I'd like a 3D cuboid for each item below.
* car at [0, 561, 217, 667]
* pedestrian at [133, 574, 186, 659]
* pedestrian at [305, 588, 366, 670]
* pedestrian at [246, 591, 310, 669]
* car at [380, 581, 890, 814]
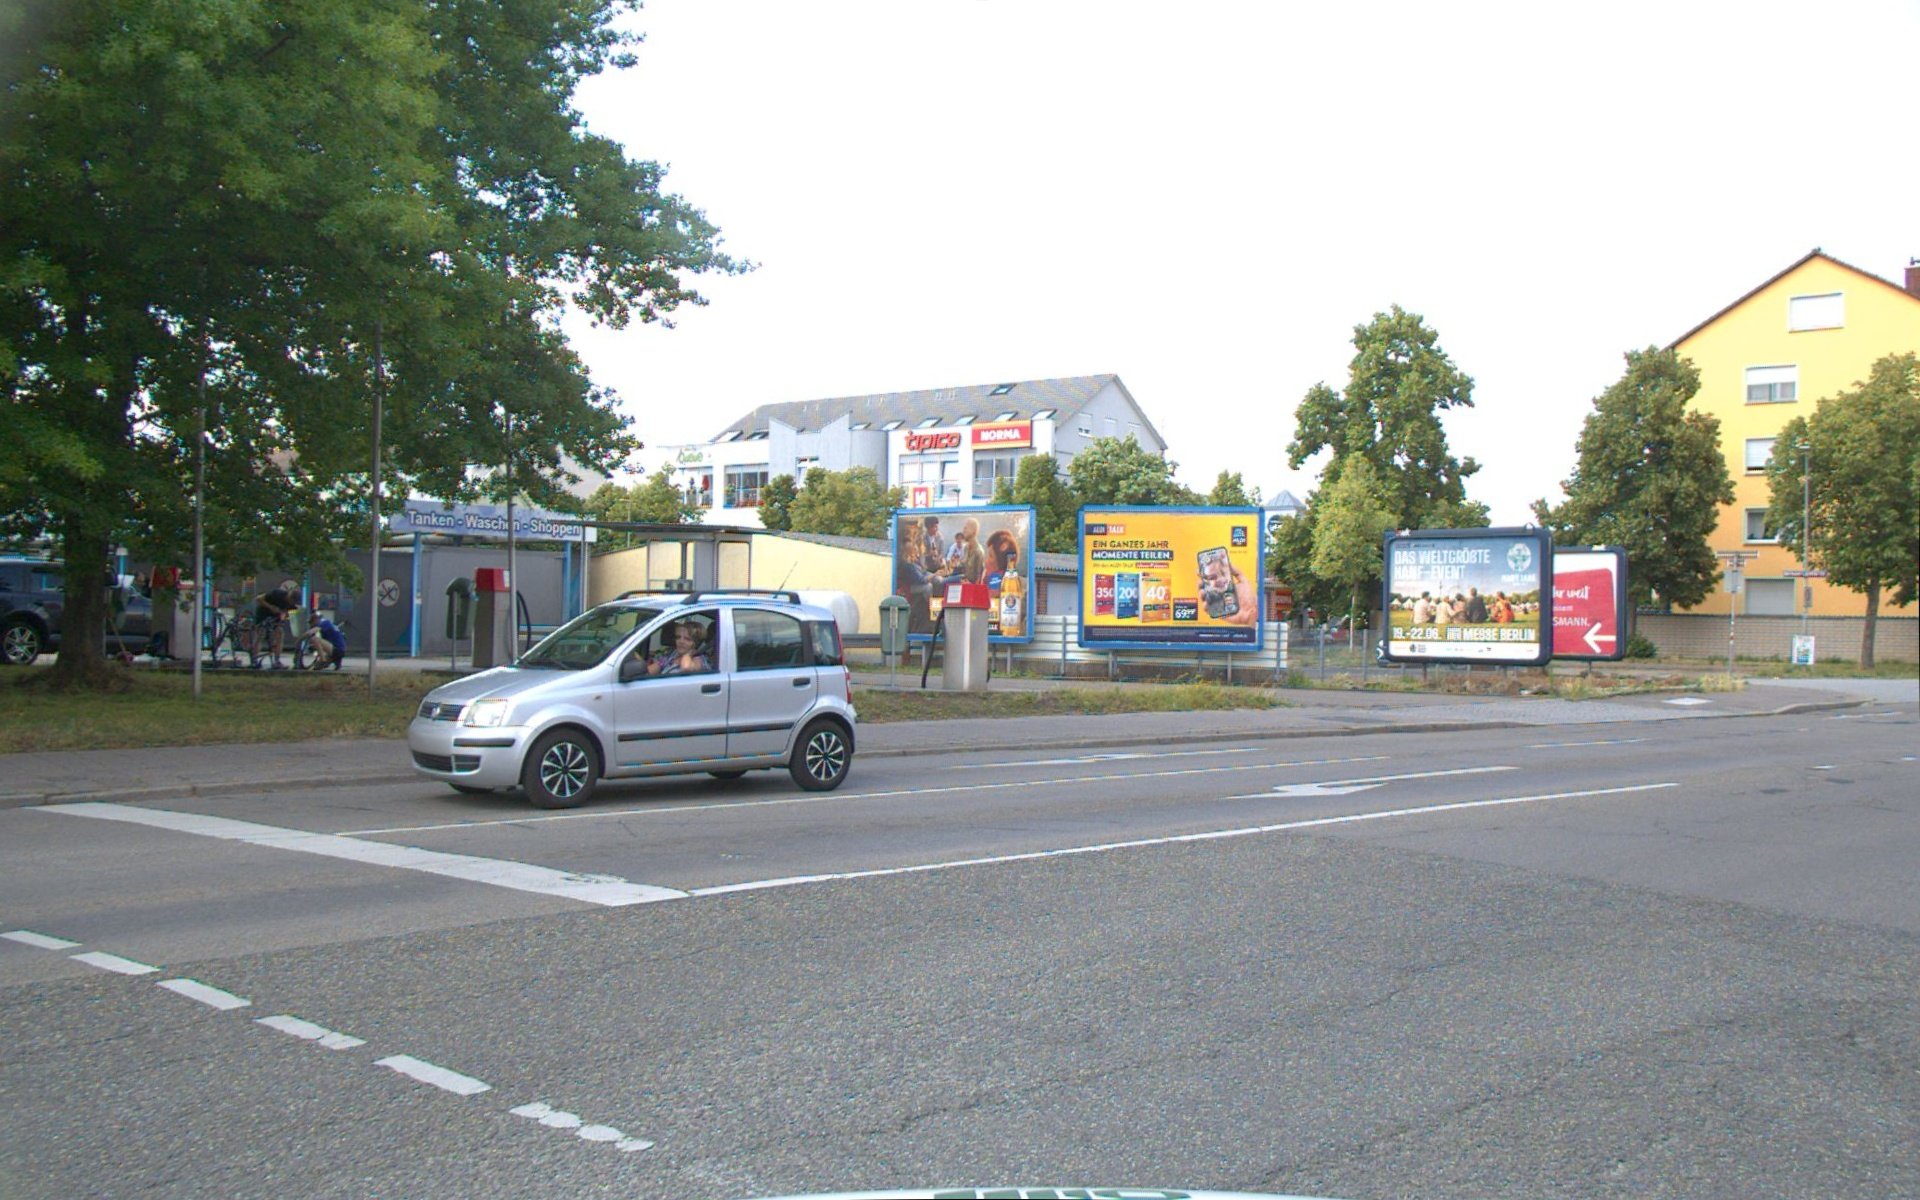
[{"bbox_3d":[-14.992,0.225,27.484,2.104,1.624,4.561,0,0,25],"label":"car"},{"bbox_3d":[-14.598,0.302,30.168,0.606,1.521,0.561,0,-3,29],"label":"pedestrian"},{"bbox_3d":[-10.000,0.467,26.509,0.749,1.278,0.644,2,-3,-8],"label":"pedestrian"},{"bbox_3d":[-10.867,0.487,26.371,0.749,1.211,0.644,2,-3,-8],"label":"pedestrian"},{"bbox_3d":[-2.402,0.670,12.717,3.577,1.544,1.535,1,-1,-42],"label":"car"}]
